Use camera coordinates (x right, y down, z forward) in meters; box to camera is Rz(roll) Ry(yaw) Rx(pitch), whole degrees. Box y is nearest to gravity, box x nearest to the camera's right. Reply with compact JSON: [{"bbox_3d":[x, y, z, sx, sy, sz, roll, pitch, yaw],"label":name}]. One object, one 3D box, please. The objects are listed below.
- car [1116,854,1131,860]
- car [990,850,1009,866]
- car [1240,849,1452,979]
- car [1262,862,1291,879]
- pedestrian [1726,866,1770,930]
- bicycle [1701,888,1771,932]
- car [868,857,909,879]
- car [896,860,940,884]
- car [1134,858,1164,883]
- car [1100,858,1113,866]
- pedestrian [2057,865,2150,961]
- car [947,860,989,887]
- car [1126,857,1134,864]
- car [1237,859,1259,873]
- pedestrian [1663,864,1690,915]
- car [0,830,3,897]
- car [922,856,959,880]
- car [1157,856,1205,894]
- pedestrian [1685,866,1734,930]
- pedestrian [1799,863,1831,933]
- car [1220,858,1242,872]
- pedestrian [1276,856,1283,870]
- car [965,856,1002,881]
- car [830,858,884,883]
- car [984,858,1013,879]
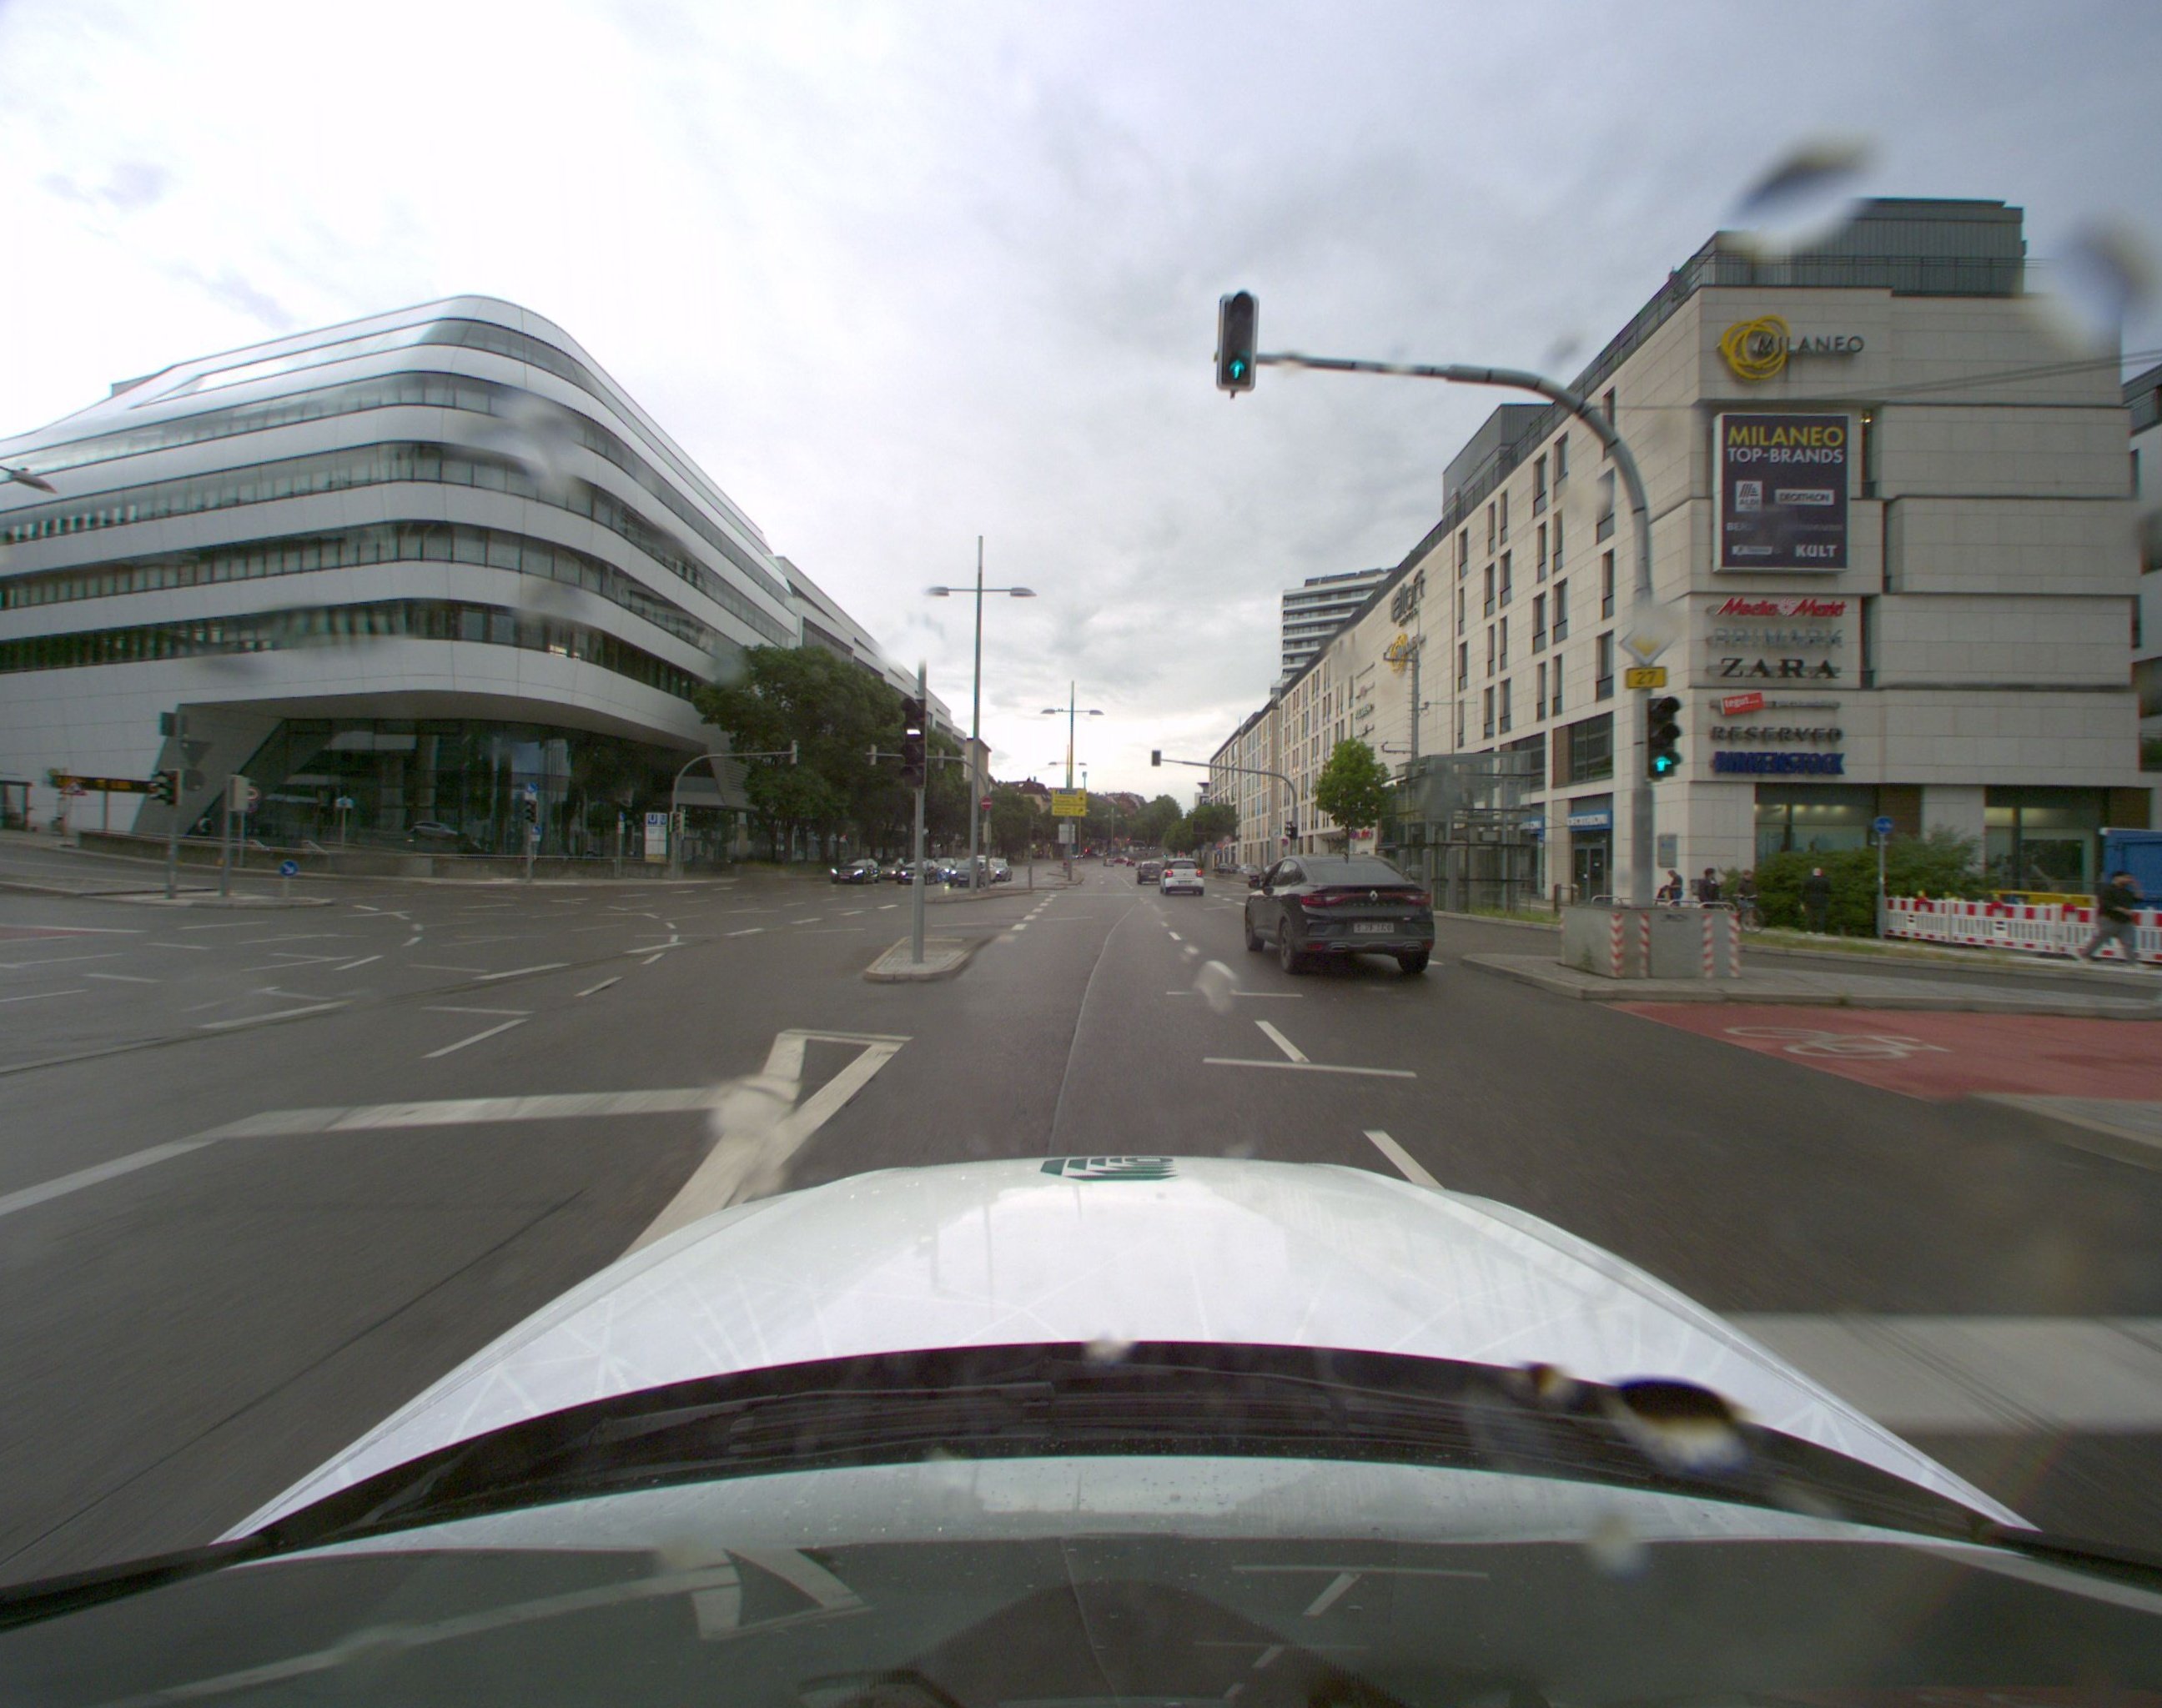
[{"bbox_3d":[11.413,0.776,219.645,3.810,1.531,1.736,0,0,-17],"label":"car"},{"bbox_3d":[-9.431,0.458,94.896,1.736,1.748,3.541,0,-1,2],"label":"car"},{"bbox_3d":[3.555,0.696,11.806,1.784,1.506,4.341,0,1,2],"label":"car"},{"bbox_3d":[15.353,1.297,64.048,1.500,1.266,3.503,0,-1,2],"label":"car"},{"bbox_3d":[17.136,1.110,20.930,0.548,1.611,0.698,0,-1,2],"label":"pedestrian"},{"bbox_3d":[16.777,1.407,20.906,0.447,1.016,1.743,0,-1,2],"label":"bicycle"},{"bbox_3d":[-12.664,0.915,53.792,1.736,1.423,3.541,0,-1,2],"label":"car"},{"bbox_3d":[-9.373,1.005,47.105,1.736,1.257,3.541,1,1,2],"label":"car"},{"bbox_3d":[4.433,1.069,53.472,1.733,1.531,3.815,0,-1,2],"label":"car"},{"bbox_3d":[5.526,1.721,173.858,1.743,1.531,3.794,0,0,-16],"label":"car"},{"bbox_3d":[18.397,1.046,14.665,0.619,1.672,0.824,0,-1,2],"label":"pedestrian"},{"bbox_3d":[-6.334,1.085,45.959,1.736,1.444,3.396,0,-1,2],"label":"car"},{"bbox_3d":[11.158,1.535,184.433,1.733,1.531,3.815,0,-1,2],"label":"car"},{"bbox_3d":[15.949,1.142,77.925,1.500,1.266,3.503,0,-1,2],"label":"car"},{"bbox_3d":[19.462,1.157,26.614,0.588,1.642,0.591,-1,-1,26],"label":"pedestrian"},{"bbox_3d":[-29.084,0.241,19.886,4.466,1.631,1.903,0,-1,17],"label":"car"},{"bbox_3d":[-9.316,0.928,54.160,1.736,1.559,3.541,0,-1,2],"label":"car"},{"bbox_3d":[4.262,0.882,35.220,1.718,1.531,3.815,0,-1,2],"label":"car"},{"bbox_3d":[16.185,1.126,20.983,0.610,1.611,0.819,0,-1,2],"label":"pedestrian"},{"bbox_3d":[19.156,1.134,21.255,0.588,1.780,0.443,-1,-1,44],"label":"pedestrian"},{"bbox_3d":[15.373,1.095,83.399,1.655,1.400,3.834,0,-1,2],"label":"car"},{"bbox_3d":[22.392,0.992,91.752,0.671,1.528,0.727,0,-1,1],"label":"pedestrian"},{"bbox_3d":[-6.301,0.900,53.027,1.696,1.559,4.246,0,-1,2],"label":"car"},{"bbox_3d":[-12.508,0.901,45.657,1.736,1.328,4.227,0,-1,2],"label":"car"},{"bbox_3d":[-5.875,1.033,58.196,1.532,1.477,3.697,0,-1,2],"label":"car"}]
